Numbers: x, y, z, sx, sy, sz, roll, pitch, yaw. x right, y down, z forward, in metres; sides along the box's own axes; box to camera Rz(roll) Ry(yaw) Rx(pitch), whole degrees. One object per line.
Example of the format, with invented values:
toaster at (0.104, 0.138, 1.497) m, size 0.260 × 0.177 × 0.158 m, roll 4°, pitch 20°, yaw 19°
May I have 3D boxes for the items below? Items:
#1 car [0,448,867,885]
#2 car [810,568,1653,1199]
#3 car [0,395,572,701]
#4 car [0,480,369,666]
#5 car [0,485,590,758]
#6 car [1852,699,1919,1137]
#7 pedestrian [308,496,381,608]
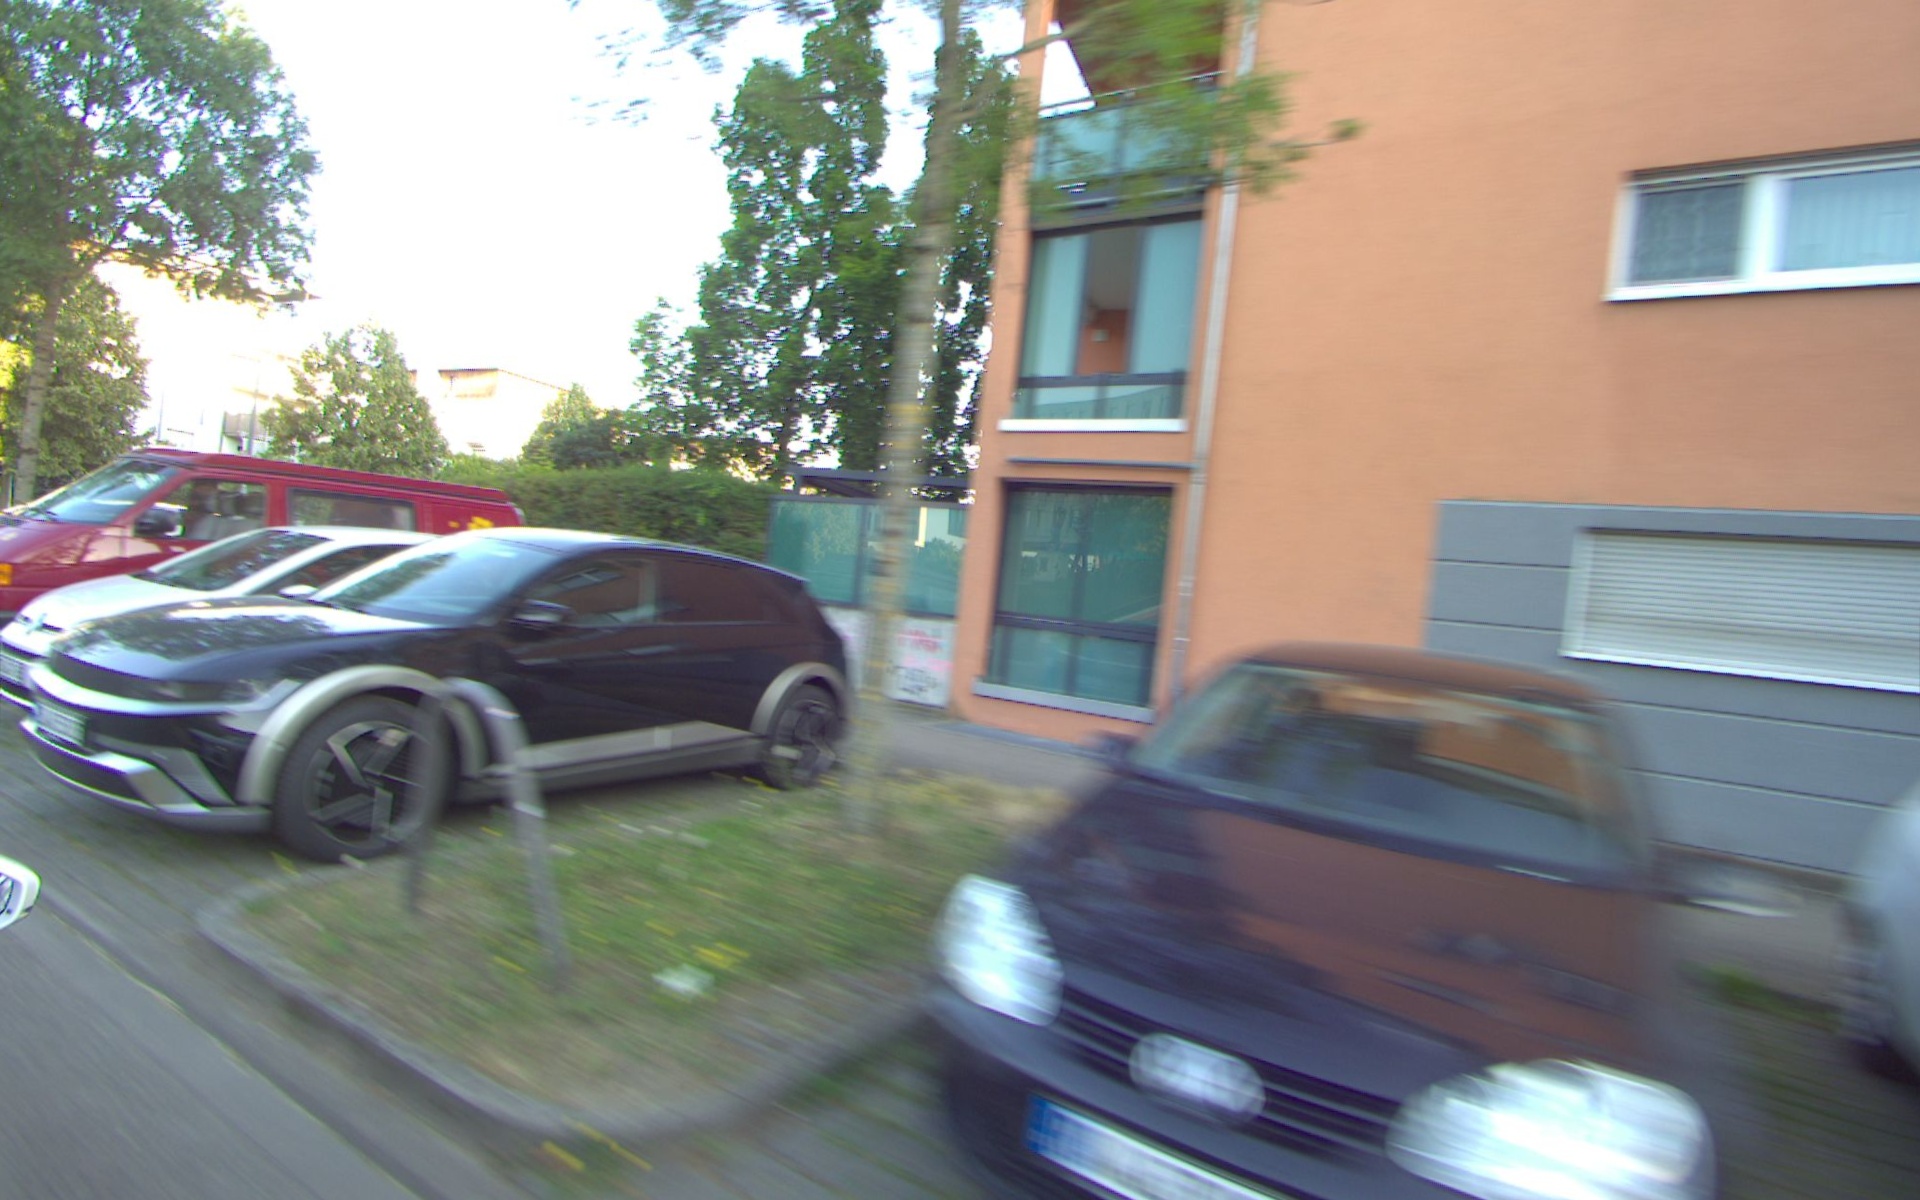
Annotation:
car at (-2.601, 0.271, 5.950) m, size 1.763 × 1.589 × 4.217 m, roll 7°, pitch 1°, yaw 32°
car at (1.334, 0.872, 3.531) m, size 1.514 × 1.513 × 3.778 m, roll 4°, pitch -2°, yaw 32°
car at (-6.445, -0.288, 9.323) m, size 1.984 × 2.143 × 4.924 m, roll 7°, pitch -1°, yaw 33°
car at (-8.821, -0.295, 10.011) m, size 1.782 × 1.575 × 4.674 m, roll 7°, pitch -1°, yaw 33°
car at (-4.793, 0.135, 7.454) m, size 1.589 × 1.484 × 3.526 m, roll 7°, pitch 1°, yaw 32°
car at (3.772, 1.156, 2.474) m, size 1.593 × 1.588 × 3.881 m, roll 7°, pitch -1°, yaw 32°
pedestrian at (-10.316, -0.797, 16.862) m, size 0.688 × 1.765 × 0.669 m, roll 7°, pitch 1°, yaw 32°
